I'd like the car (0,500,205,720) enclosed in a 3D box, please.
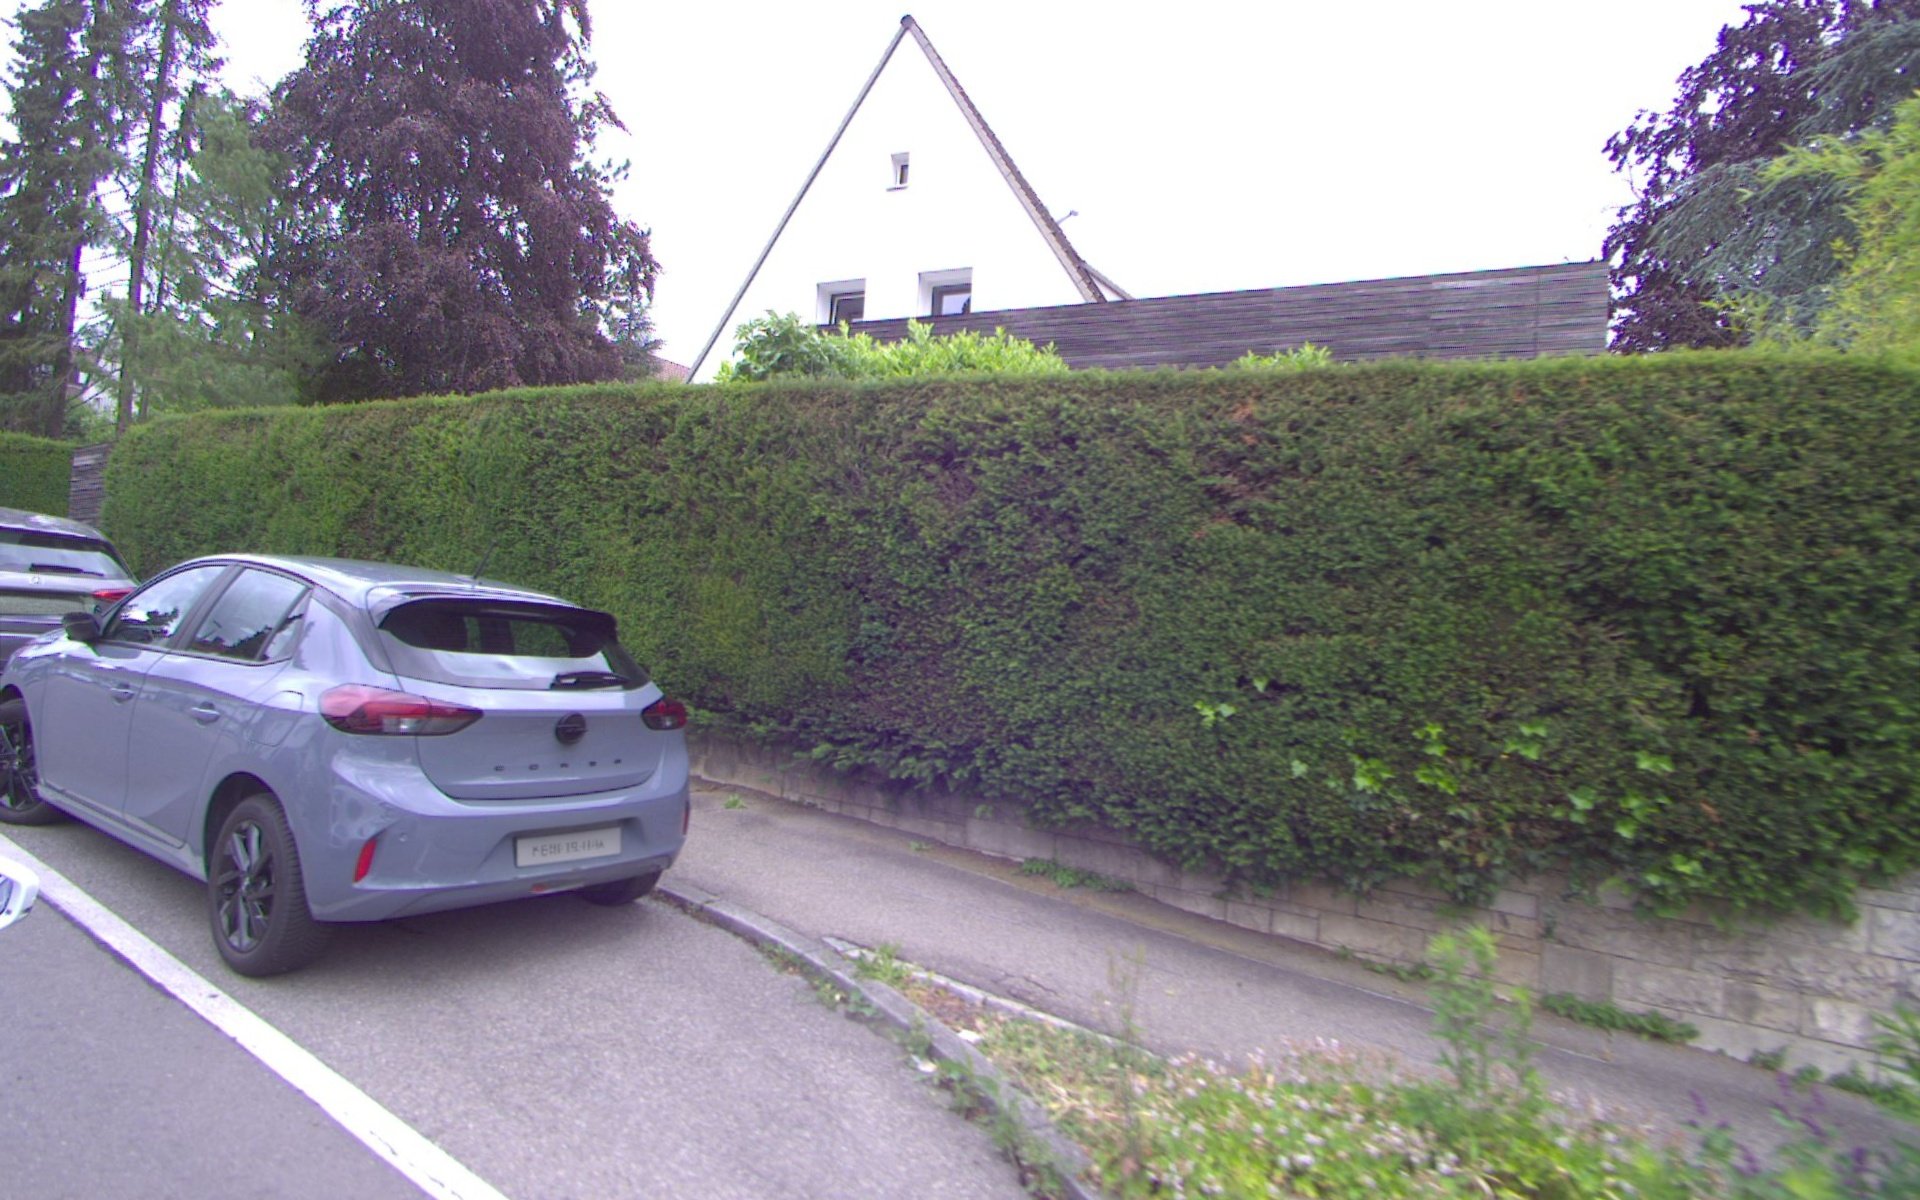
[{"bbox_3d":[-8.095,-0.093,8.030,4.103,1.481,1.858,6,-2,32],"label":"car"}]

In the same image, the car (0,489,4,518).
[{"bbox_3d":[-12.613,-0.673,11.149,4.103,1.600,1.858,6,-2,32],"label":"car"}]

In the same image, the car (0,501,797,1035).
[{"bbox_3d":[-2.968,0.483,4.870,3.934,1.481,1.858,6,-2,32],"label":"car"}]
